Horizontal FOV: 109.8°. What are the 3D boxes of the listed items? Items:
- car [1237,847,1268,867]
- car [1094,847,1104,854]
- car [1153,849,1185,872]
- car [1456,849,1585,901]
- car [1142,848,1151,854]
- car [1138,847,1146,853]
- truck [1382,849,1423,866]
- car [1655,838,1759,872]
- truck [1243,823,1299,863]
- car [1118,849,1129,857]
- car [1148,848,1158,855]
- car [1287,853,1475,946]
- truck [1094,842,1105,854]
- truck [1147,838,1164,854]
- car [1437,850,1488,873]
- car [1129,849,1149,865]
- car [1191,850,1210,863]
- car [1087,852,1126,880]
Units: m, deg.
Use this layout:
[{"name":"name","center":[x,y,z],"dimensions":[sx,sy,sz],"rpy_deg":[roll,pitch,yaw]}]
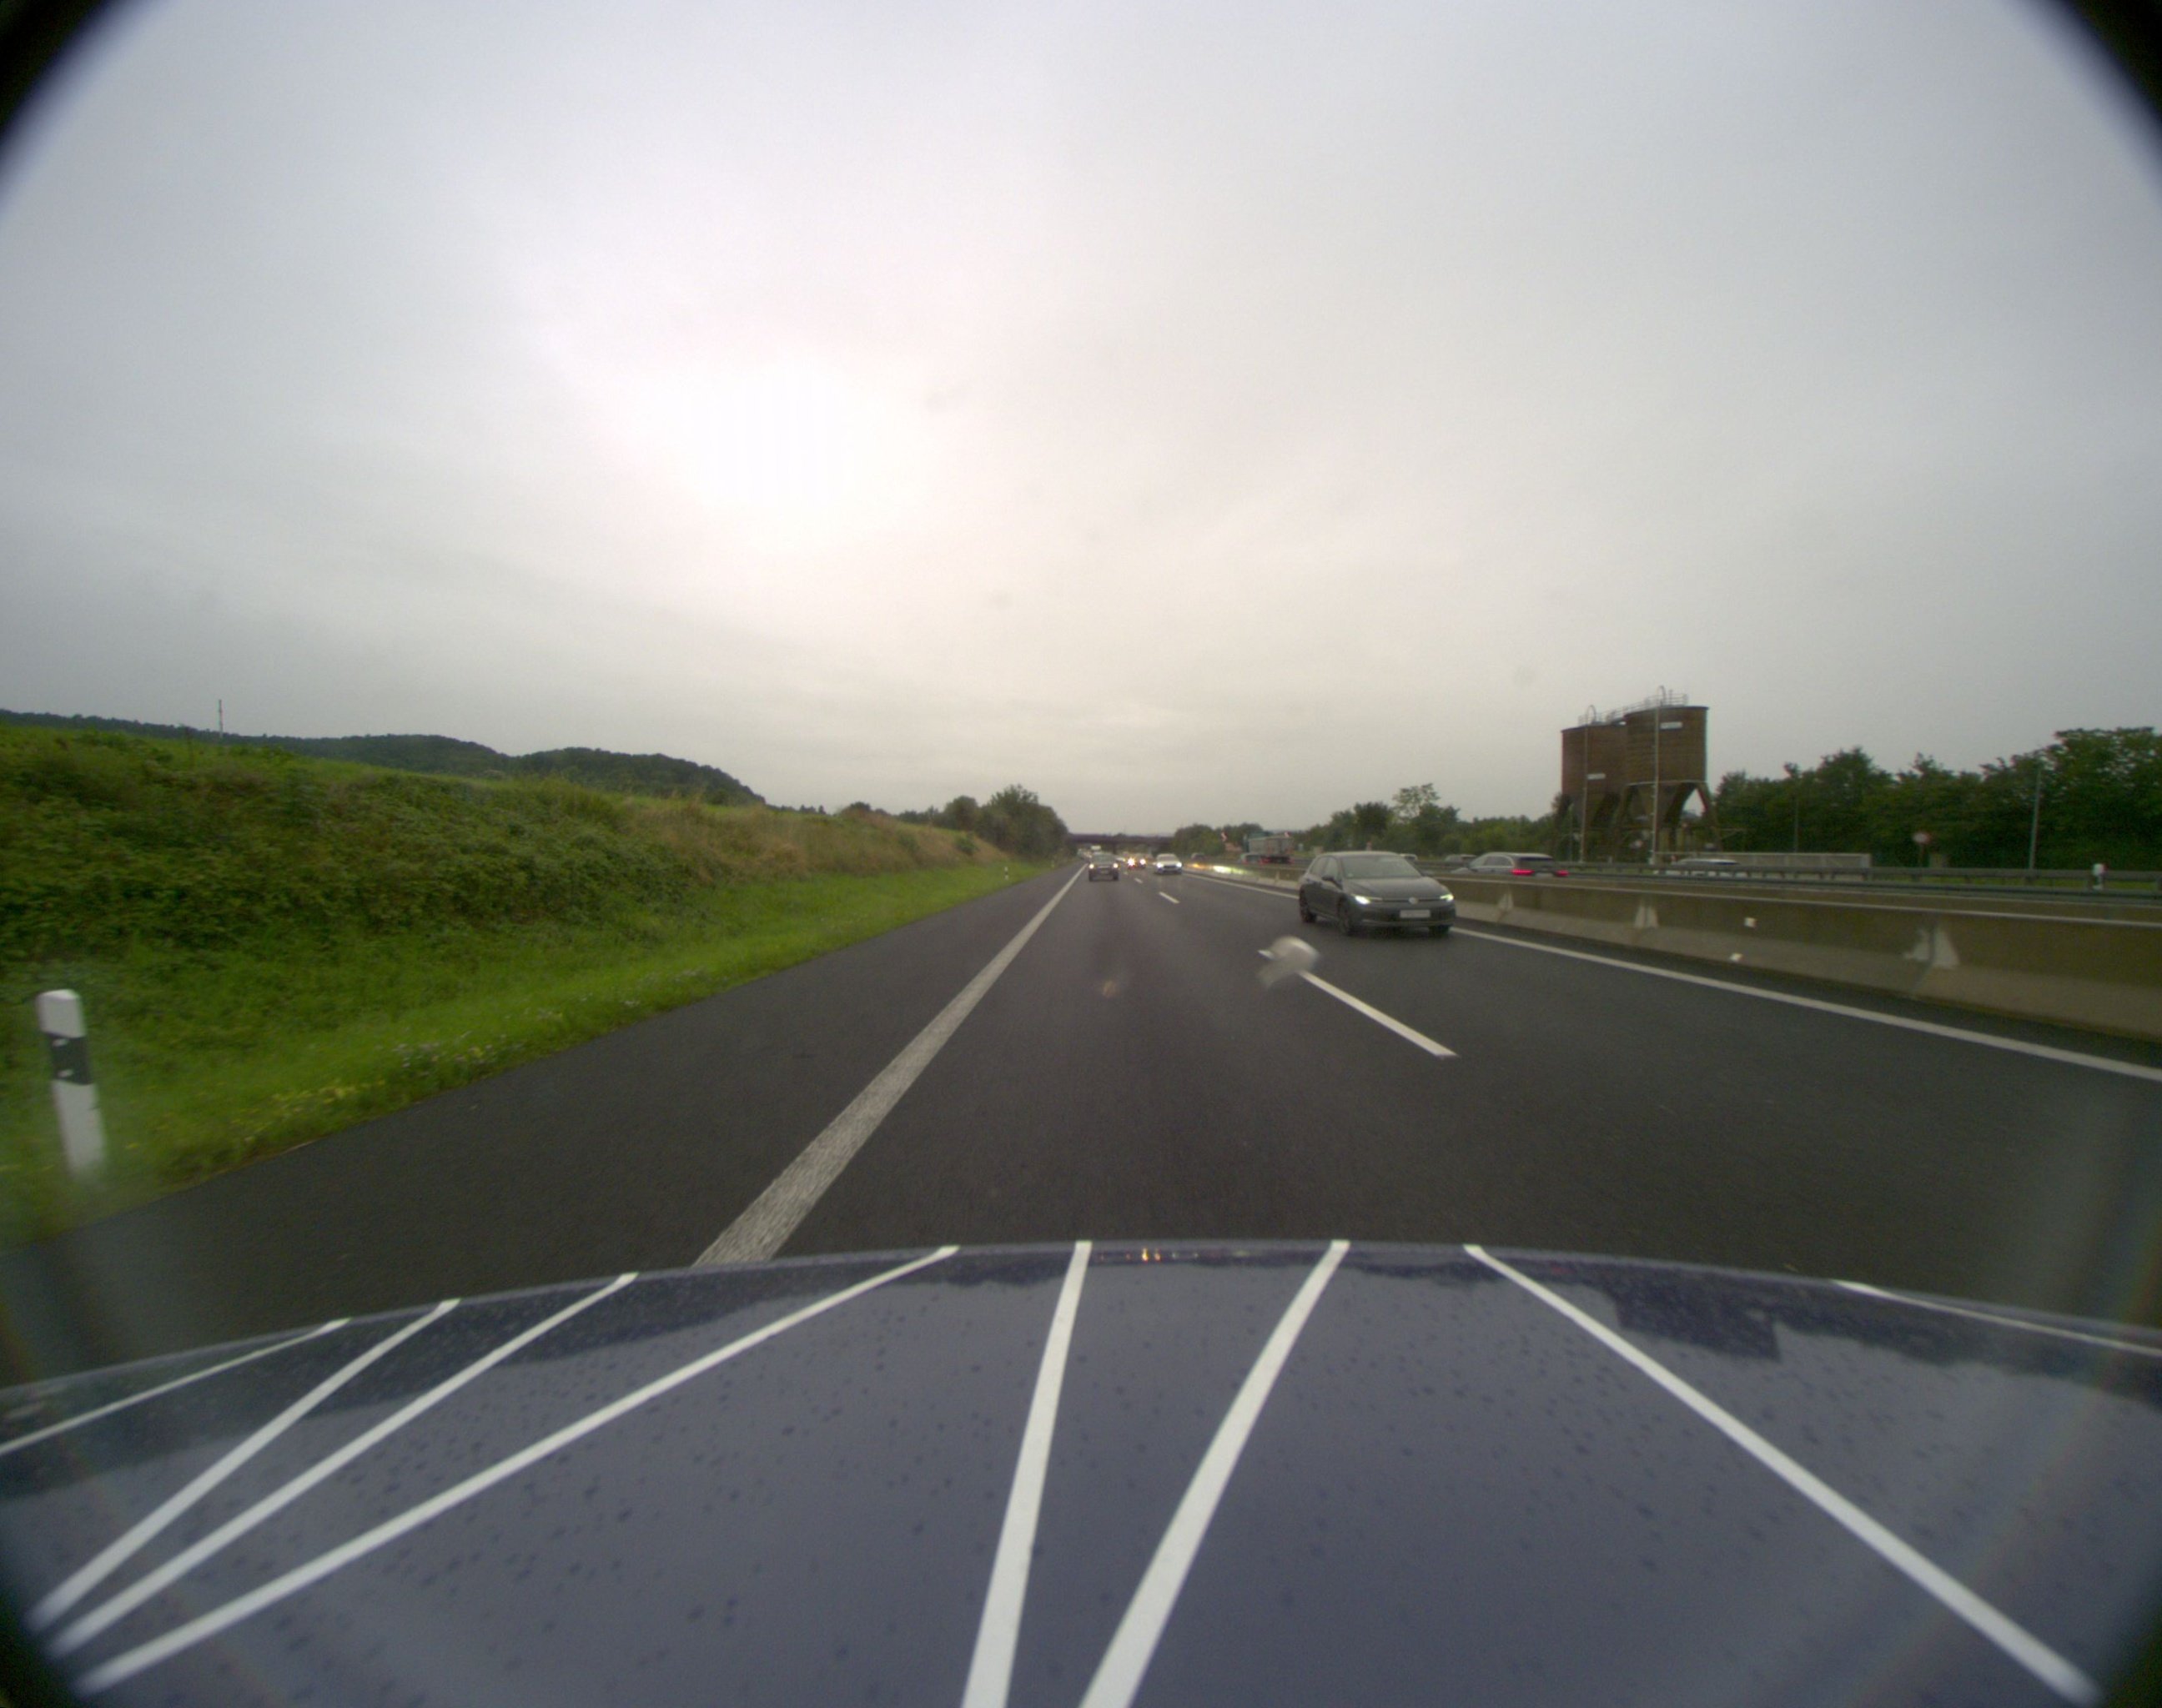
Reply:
[{"name":"car","center":[14.355,0.272,63.789],"dimensions":[1.717,1.587,4.000],"rpy_deg":[-1,0,1]},{"name":"car","center":[3.641,-0.744,155.607],"dimensions":[1.941,1.341,4.000],"rpy_deg":[-3,0,1]},{"name":"car","center":[6.433,0.460,56.036],"dimensions":[1.998,1.582,4.817],"rpy_deg":[-2,0,2]},{"name":"car","center":[13.736,0.601,24.025],"dimensions":[1.802,1.499,4.000],"rpy_deg":[0,0,1]},{"name":"car","center":[17.475,-0.841,201.547],"dimensions":[1.911,1.649,3.999],"rpy_deg":[-1,0,-1]},{"name":"car","center":[18.188,-1.106,225.975],"dimensions":[1.911,1.649,3.999],"rpy_deg":[-1,0,-1]},{"name":"truck","center":[34.987,0.347,82.823],"dimensions":[1.999,1.636,5.405],"rpy_deg":[-3,0,-1]},{"name":"car","center":[33.772,0.028,41.171],"dimensions":[1.998,1.751,4.505],"rpy_deg":[-1,0,1]},{"name":"truck","center":[18.970,-1.114,76.885],"dimensions":[2.976,3.689,11.909],"rpy_deg":[-2,1,2]},{"name":"car","center":[8.019,-0.143,144.803],"dimensions":[1.941,1.341,4.000],"rpy_deg":[-3,0,2]},{"name":"car","center":[16.963,-0.586,179.405],"dimensions":[1.911,1.649,3.999],"rpy_deg":[-1,0,-1]},{"name":"car","center":[5.425,0.729,14.427],"dimensions":[1.835,1.417,4.367],"rpy_deg":[-2,0,0]},{"name":"truck","center":[5.008,-1.636,202.948],"dimensions":[2.728,3.098,7.960],"rpy_deg":[-3,0,1]},{"name":"truck","center":[22.362,-2.308,228.998],"dimensions":[3.787,4.451,12.891],"rpy_deg":[-1,0,-1]},{"name":"car","center":[30.756,0.582,61.450],"dimensions":[1.907,1.798,4.461],"rpy_deg":[-1,0,0]},{"name":"car","center":[5.866,0.296,77.374],"dimensions":[1.835,1.417,4.368],"rpy_deg":[-3,0,2]},{"name":"car","center":[15.311,0.344,97.483],"dimensions":[1.785,1.622,3.999],"rpy_deg":[0,0,-1]},{"name":"car","center":[1.581,0.670,46.363],"dimensions":[2.242,1.565,4.817],"rpy_deg":[-2,0,3]}]
